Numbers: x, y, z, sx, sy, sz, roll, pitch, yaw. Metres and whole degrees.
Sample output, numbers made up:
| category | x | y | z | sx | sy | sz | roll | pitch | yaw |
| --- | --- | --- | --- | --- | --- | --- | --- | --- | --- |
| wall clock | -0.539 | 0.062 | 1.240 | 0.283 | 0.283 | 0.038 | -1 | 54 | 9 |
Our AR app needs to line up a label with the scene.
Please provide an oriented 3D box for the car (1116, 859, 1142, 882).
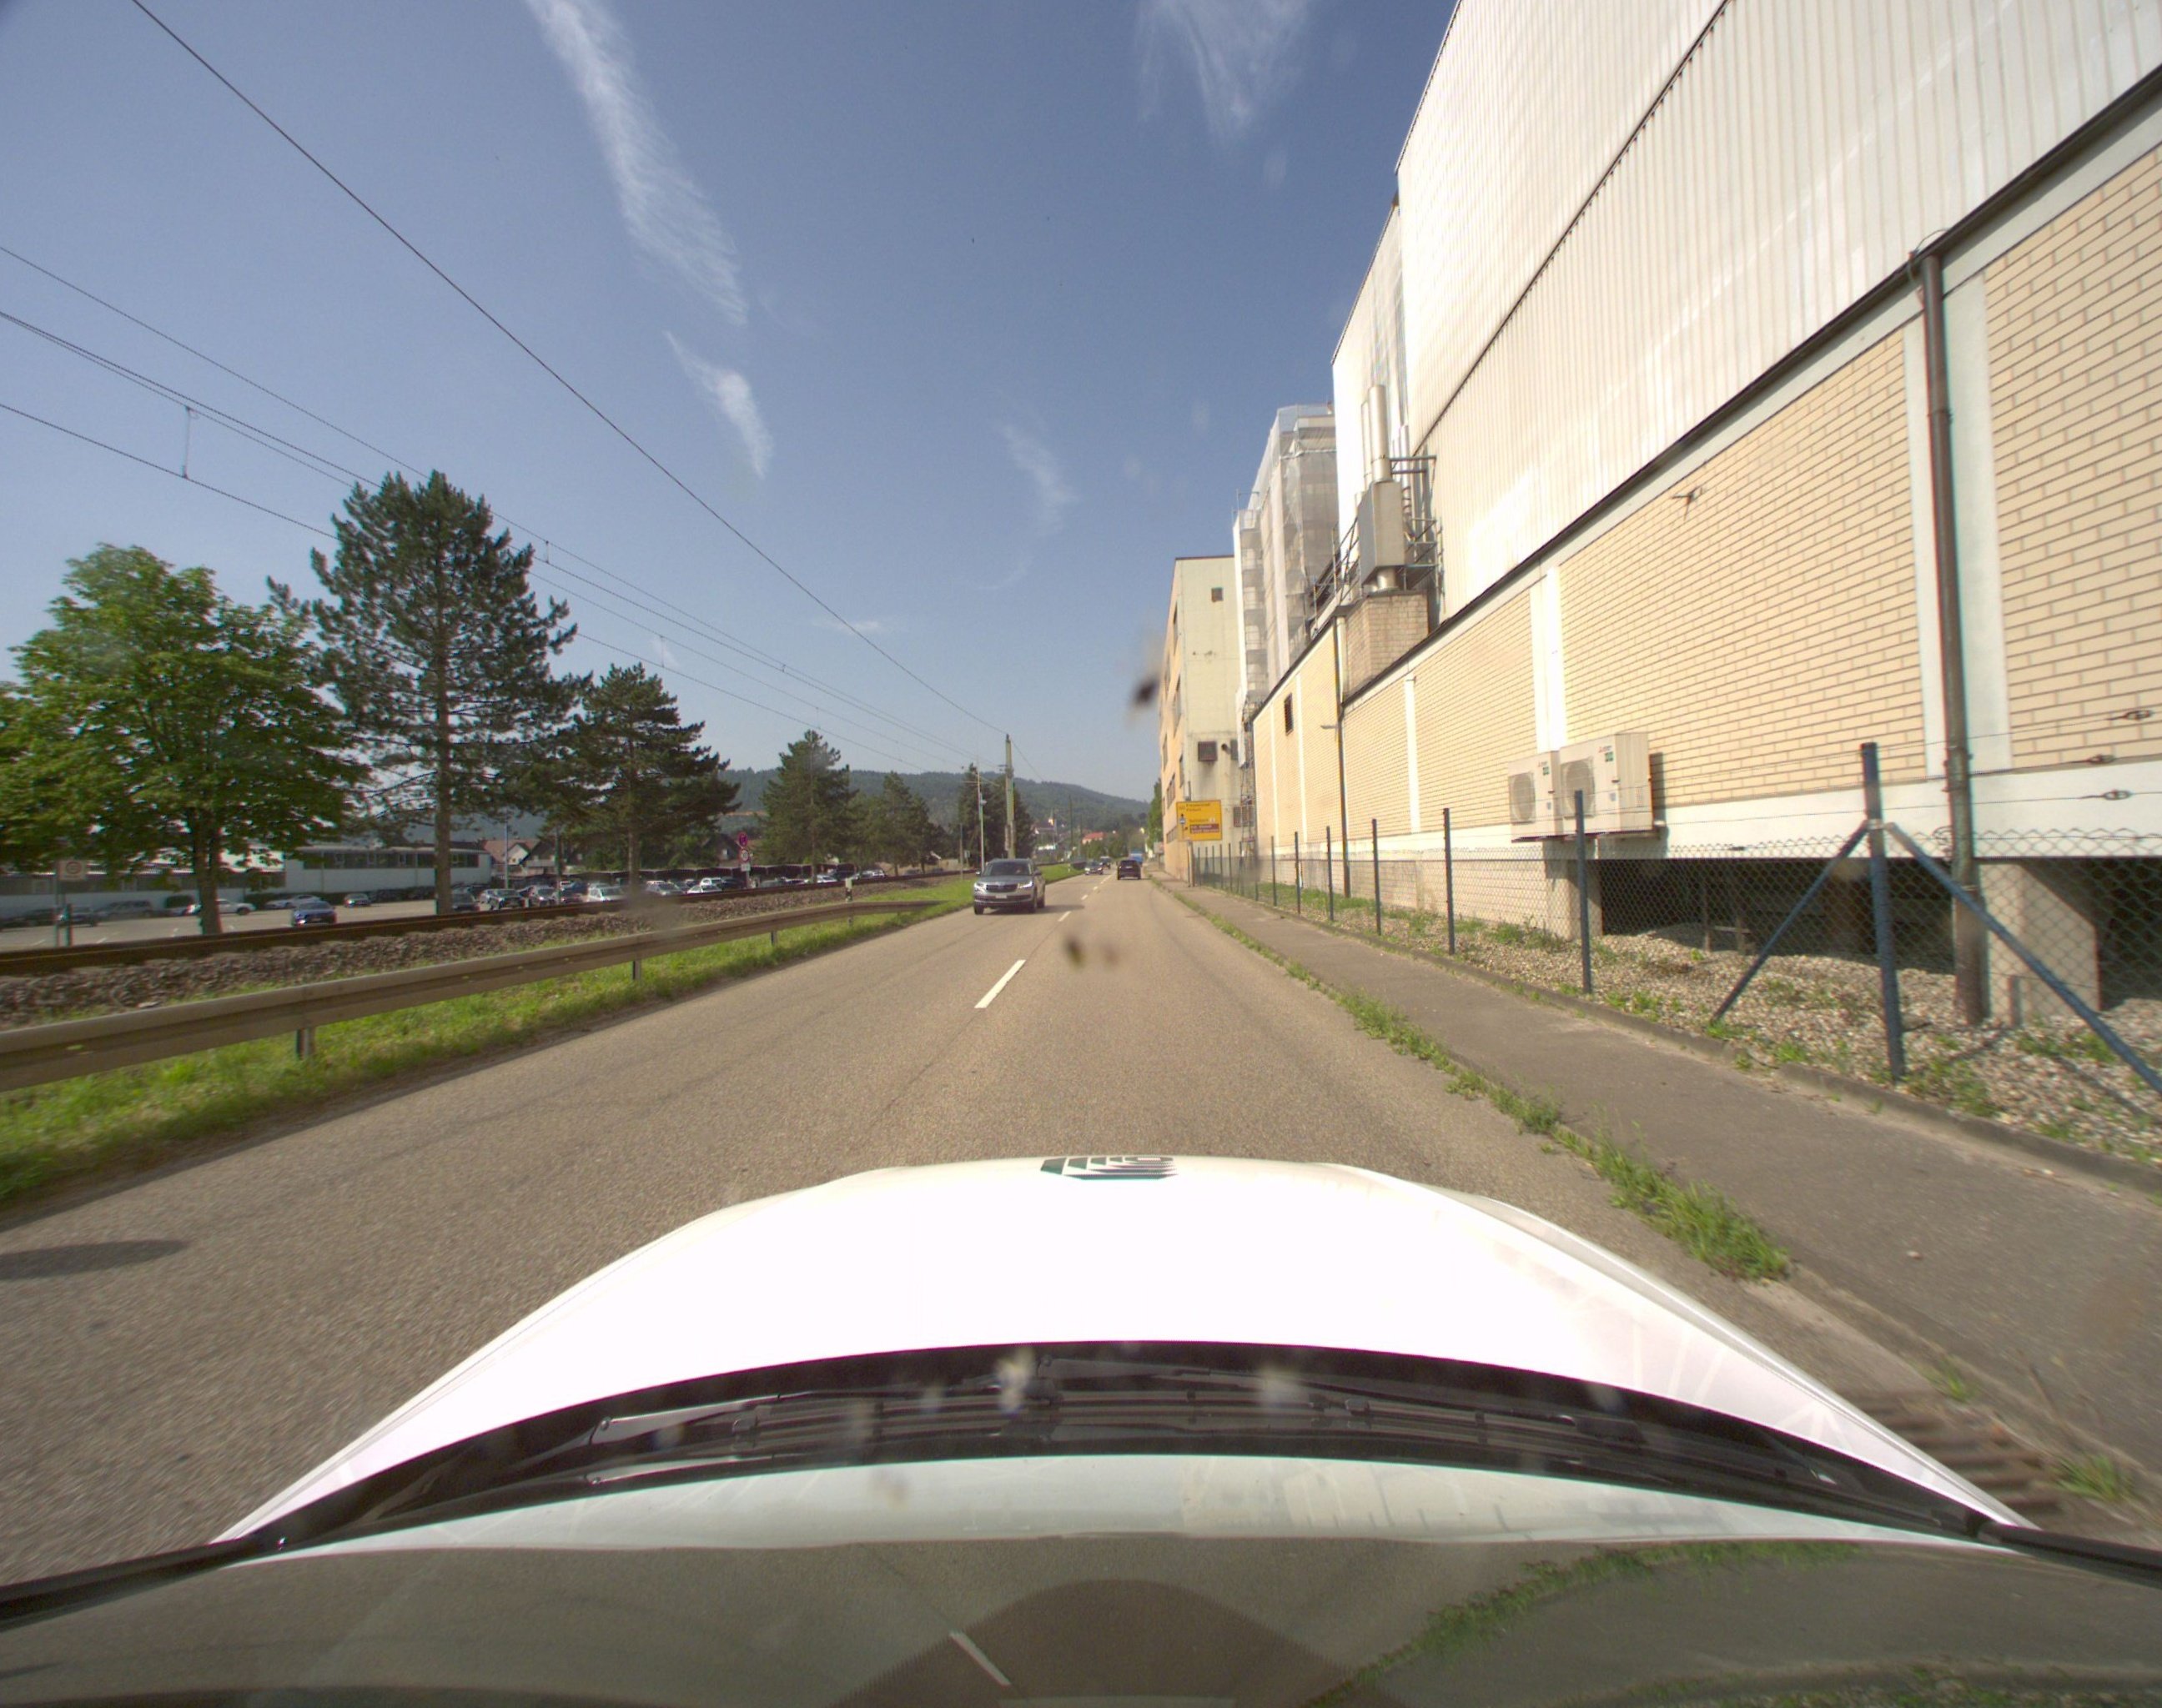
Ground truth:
| category | x | y | z | sx | sy | sz | roll | pitch | yaw |
| --- | --- | --- | --- | --- | --- | --- | --- | --- | --- |
| car | 3.845 | 1.272 | 64.502 | 1.911 | 1.640 | 4.004 | -2 | -1 | 4 |

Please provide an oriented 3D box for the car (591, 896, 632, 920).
| category | x | y | z | sx | sy | sz | roll | pitch | yaw |
| --- | --- | --- | --- | --- | --- | --- | --- | --- | --- |
| car | -31.539 | 3.623 | 54.632 | 1.697 | 1.443 | 3.807 | -2 | -1 | -41 |

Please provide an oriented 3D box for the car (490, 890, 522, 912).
| category | x | y | z | sx | sy | sz | roll | pitch | yaw |
| --- | --- | --- | --- | --- | --- | --- | --- | --- | --- |
| car | -45.872 | 3.745 | 64.934 | 1.697 | 1.642 | 3.807 | -2 | -1 | -41 |

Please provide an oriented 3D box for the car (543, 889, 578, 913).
| category | x | y | z | sx | sy | sz | roll | pitch | yaw |
| --- | --- | --- | --- | --- | --- | --- | --- | --- | --- |
| car | -39.937 | 3.586 | 62.433 | 1.697 | 1.642 | 3.807 | -2 | -1 | -41 |

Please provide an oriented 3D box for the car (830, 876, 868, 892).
| category | x | y | z | sx | sy | sz | roll | pitch | yaw |
| --- | --- | --- | --- | --- | --- | --- | --- | --- | --- |
| car | -27.883 | 3.570 | 97.985 | 4.012 | 1.640 | 1.981 | -2 | -1 | -30 |

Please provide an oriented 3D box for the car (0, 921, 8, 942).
| category | x | y | z | sx | sy | sz | roll | pitch | yaw |
| --- | --- | --- | --- | --- | --- | --- | --- | --- | --- |
| car | -79.559 | 5.670 | 58.518 | 3.951 | 1.442 | 2.011 | -3 | -1 | 23 |

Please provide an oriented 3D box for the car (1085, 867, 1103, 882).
| category | x | y | z | sx | sy | sz | roll | pitch | yaw |
| --- | --- | --- | --- | --- | --- | --- | --- | --- | --- |
| car | 1.467 | 2.225 | 88.847 | 1.761 | 1.405 | 4.298 | -3 | -1 | 2 |

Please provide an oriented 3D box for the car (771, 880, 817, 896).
| category | x | y | z | sx | sy | sz | roll | pitch | yaw |
| --- | --- | --- | --- | --- | --- | --- | --- | --- | --- |
| car | -27.915 | 3.261 | 79.343 | 1.545 | 1.325 | 3.881 | -3 | -1 | 41 |

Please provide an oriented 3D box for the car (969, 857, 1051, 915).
| category | x | y | z | sx | sy | sz | roll | pitch | yaw |
| --- | --- | --- | --- | --- | --- | --- | --- | --- | --- |
| car | -2.109 | 0.951 | 25.396 | 1.899 | 1.600 | 4.573 | -2 | -1 | 3 |

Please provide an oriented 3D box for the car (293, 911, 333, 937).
| category | x | y | z | sx | sy | sz | roll | pitch | yaw |
| --- | --- | --- | --- | --- | --- | --- | --- | --- | --- |
| car | -46.487 | 4.212 | 49.270 | 1.698 | 1.332 | 3.805 | -2 | -1 | -44 |

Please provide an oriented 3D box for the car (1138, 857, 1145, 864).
| category | x | y | z | sx | sy | sz | roll | pitch | yaw |
| --- | --- | --- | --- | --- | --- | --- | --- | --- | --- |
| car | 16.520 | 1.852 | 222.567 | 1.659 | 1.823 | 3.756 | -2 | 0 | 4 |

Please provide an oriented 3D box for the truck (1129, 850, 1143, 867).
| category | x | y | z | sx | sy | sz | roll | pitch | yaw |
| --- | --- | --- | --- | --- | --- | --- | --- | --- | --- |
| truck | 10.007 | 0.883 | 149.055 | 2.304 | 2.970 | 5.967 | -2 | 0 | 1 |

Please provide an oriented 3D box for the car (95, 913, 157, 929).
| category | x | y | z | sx | sy | sz | roll | pitch | yaw |
| --- | --- | --- | --- | --- | --- | --- | --- | --- | --- |
| car | -85.825 | 6.025 | 73.263 | 1.329 | 1.111 | 3.539 | -3 | -1 | 2 |

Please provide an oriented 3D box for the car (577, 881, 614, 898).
| category | x | y | z | sx | sy | sz | roll | pitch | yaw |
| --- | --- | --- | --- | --- | --- | --- | --- | --- | --- |
| car | -52.784 | 3.880 | 88.582 | 3.948 | 1.640 | 2.013 | -3 | -1 | 36 |

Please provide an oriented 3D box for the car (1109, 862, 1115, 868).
| category | x | y | z | sx | sy | sz | roll | pitch | yaw |
| --- | --- | --- | --- | --- | --- | --- | --- | --- | --- |
| car | 9.273 | 3.264 | 240.843 | 1.735 | 1.507 | 4.202 | -2 | -1 | 2 |

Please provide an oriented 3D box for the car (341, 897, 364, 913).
| category | x | y | z | sx | sy | sz | roll | pitch | yaw |
| --- | --- | --- | --- | --- | --- | --- | --- | --- | --- |
| car | -74.987 | 5.268 | 83.848 | 1.576 | 1.523 | 3.493 | -2 | -1 | -44 |

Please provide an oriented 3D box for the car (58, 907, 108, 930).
| category | x | y | z | sx | sy | sz | roll | pitch | yaw |
| --- | --- | --- | --- | --- | --- | --- | --- | --- | --- |
| car | -76.792 | 4.921 | 62.699 | 1.574 | 1.523 | 3.498 | -2 | -1 | -36 |

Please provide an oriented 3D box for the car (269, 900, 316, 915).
| category | x | y | z | sx | sy | sz | roll | pitch | yaw |
| --- | --- | --- | --- | --- | --- | --- | --- | --- | --- |
| car | -84.776 | 5.727 | 87.634 | 1.447 | 1.325 | 3.539 | -3 | -1 | 2 |

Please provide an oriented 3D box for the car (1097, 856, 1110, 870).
| category | x | y | z | sx | sy | sz | roll | pitch | yaw |
| --- | --- | --- | --- | --- | --- | --- | --- | --- | --- |
| car | 3.673 | 1.436 | 130.404 | 1.750 | 2.078 | 4.814 | -1 | 0 | 5 |

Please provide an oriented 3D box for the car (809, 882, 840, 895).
| category | x | y | z | sx | sy | sz | roll | pitch | yaw |
| --- | --- | --- | --- | --- | --- | --- | --- | --- | --- |
| car | -28.778 | 3.880 | 91.218 | 3.490 | 1.325 | 1.467 | -3 | -1 | 36 |

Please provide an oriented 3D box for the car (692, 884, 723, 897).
| category | x | y | z | sx | sy | sz | roll | pitch | yaw |
| --- | --- | --- | --- | --- | --- | --- | --- | --- | --- |
| car | -41.204 | 4.022 | 89.821 | 3.490 | 1.325 | 1.467 | -3 | -1 | 36 |

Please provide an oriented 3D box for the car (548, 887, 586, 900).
| category | x | y | z | sx | sy | sz | roll | pitch | yaw |
| --- | --- | --- | --- | --- | --- | --- | --- | --- | --- |
| car | -62.365 | 4.757 | 98.824 | 1.439 | 1.325 | 3.558 | -3 | -1 | 42 |

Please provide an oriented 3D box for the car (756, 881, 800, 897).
| category | x | y | z | sx | sy | sz | roll | pitch | yaw |
| --- | --- | --- | --- | --- | --- | --- | --- | --- | --- |
| car | -28.289 | 3.265 | 76.122 | 3.541 | 1.357 | 1.501 | -2 | -1 | -43 |

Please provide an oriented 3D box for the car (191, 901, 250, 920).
| category | x | y | z | sx | sy | sz | roll | pitch | yaw |
| --- | --- | --- | --- | --- | --- | --- | --- | --- | --- |
| car | -78.917 | 5.175 | 74.725 | 1.546 | 1.523 | 3.559 | -3 | -1 | 36 |

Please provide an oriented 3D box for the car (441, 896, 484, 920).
| category | x | y | z | sx | sy | sz | roll | pitch | yaw |
| --- | --- | --- | --- | --- | --- | --- | --- | --- | --- |
| car | -40.942 | 3.557 | 53.895 | 3.804 | 1.406 | 1.698 | -3 | -1 | 44 |

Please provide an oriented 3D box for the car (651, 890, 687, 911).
| category | x | y | z | sx | sy | sz | roll | pitch | yaw |
| --- | --- | --- | --- | --- | --- | --- | --- | --- | --- |
| car | -33.370 | 3.755 | 65.917 | 1.697 | 1.506 | 3.807 | -2 | -1 | -41 |

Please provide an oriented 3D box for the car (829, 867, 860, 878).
| category | x | y | z | sx | sy | sz | roll | pitch | yaw |
| --- | --- | --- | --- | --- | --- | --- | --- | --- | --- |
| car | -34.287 | 2.654 | 117.945 | 3.981 | 1.536 | 1.815 | -1 | -1 | -5 |

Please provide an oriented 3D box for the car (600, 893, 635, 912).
| category | x | y | z | sx | sy | sz | roll | pitch | yaw |
| --- | --- | --- | --- | --- | --- | --- | --- | --- | --- |
| car | -37.097 | 3.844 | 65.122 | 1.697 | 1.390 | 3.807 | -2 | -1 | -41 |
